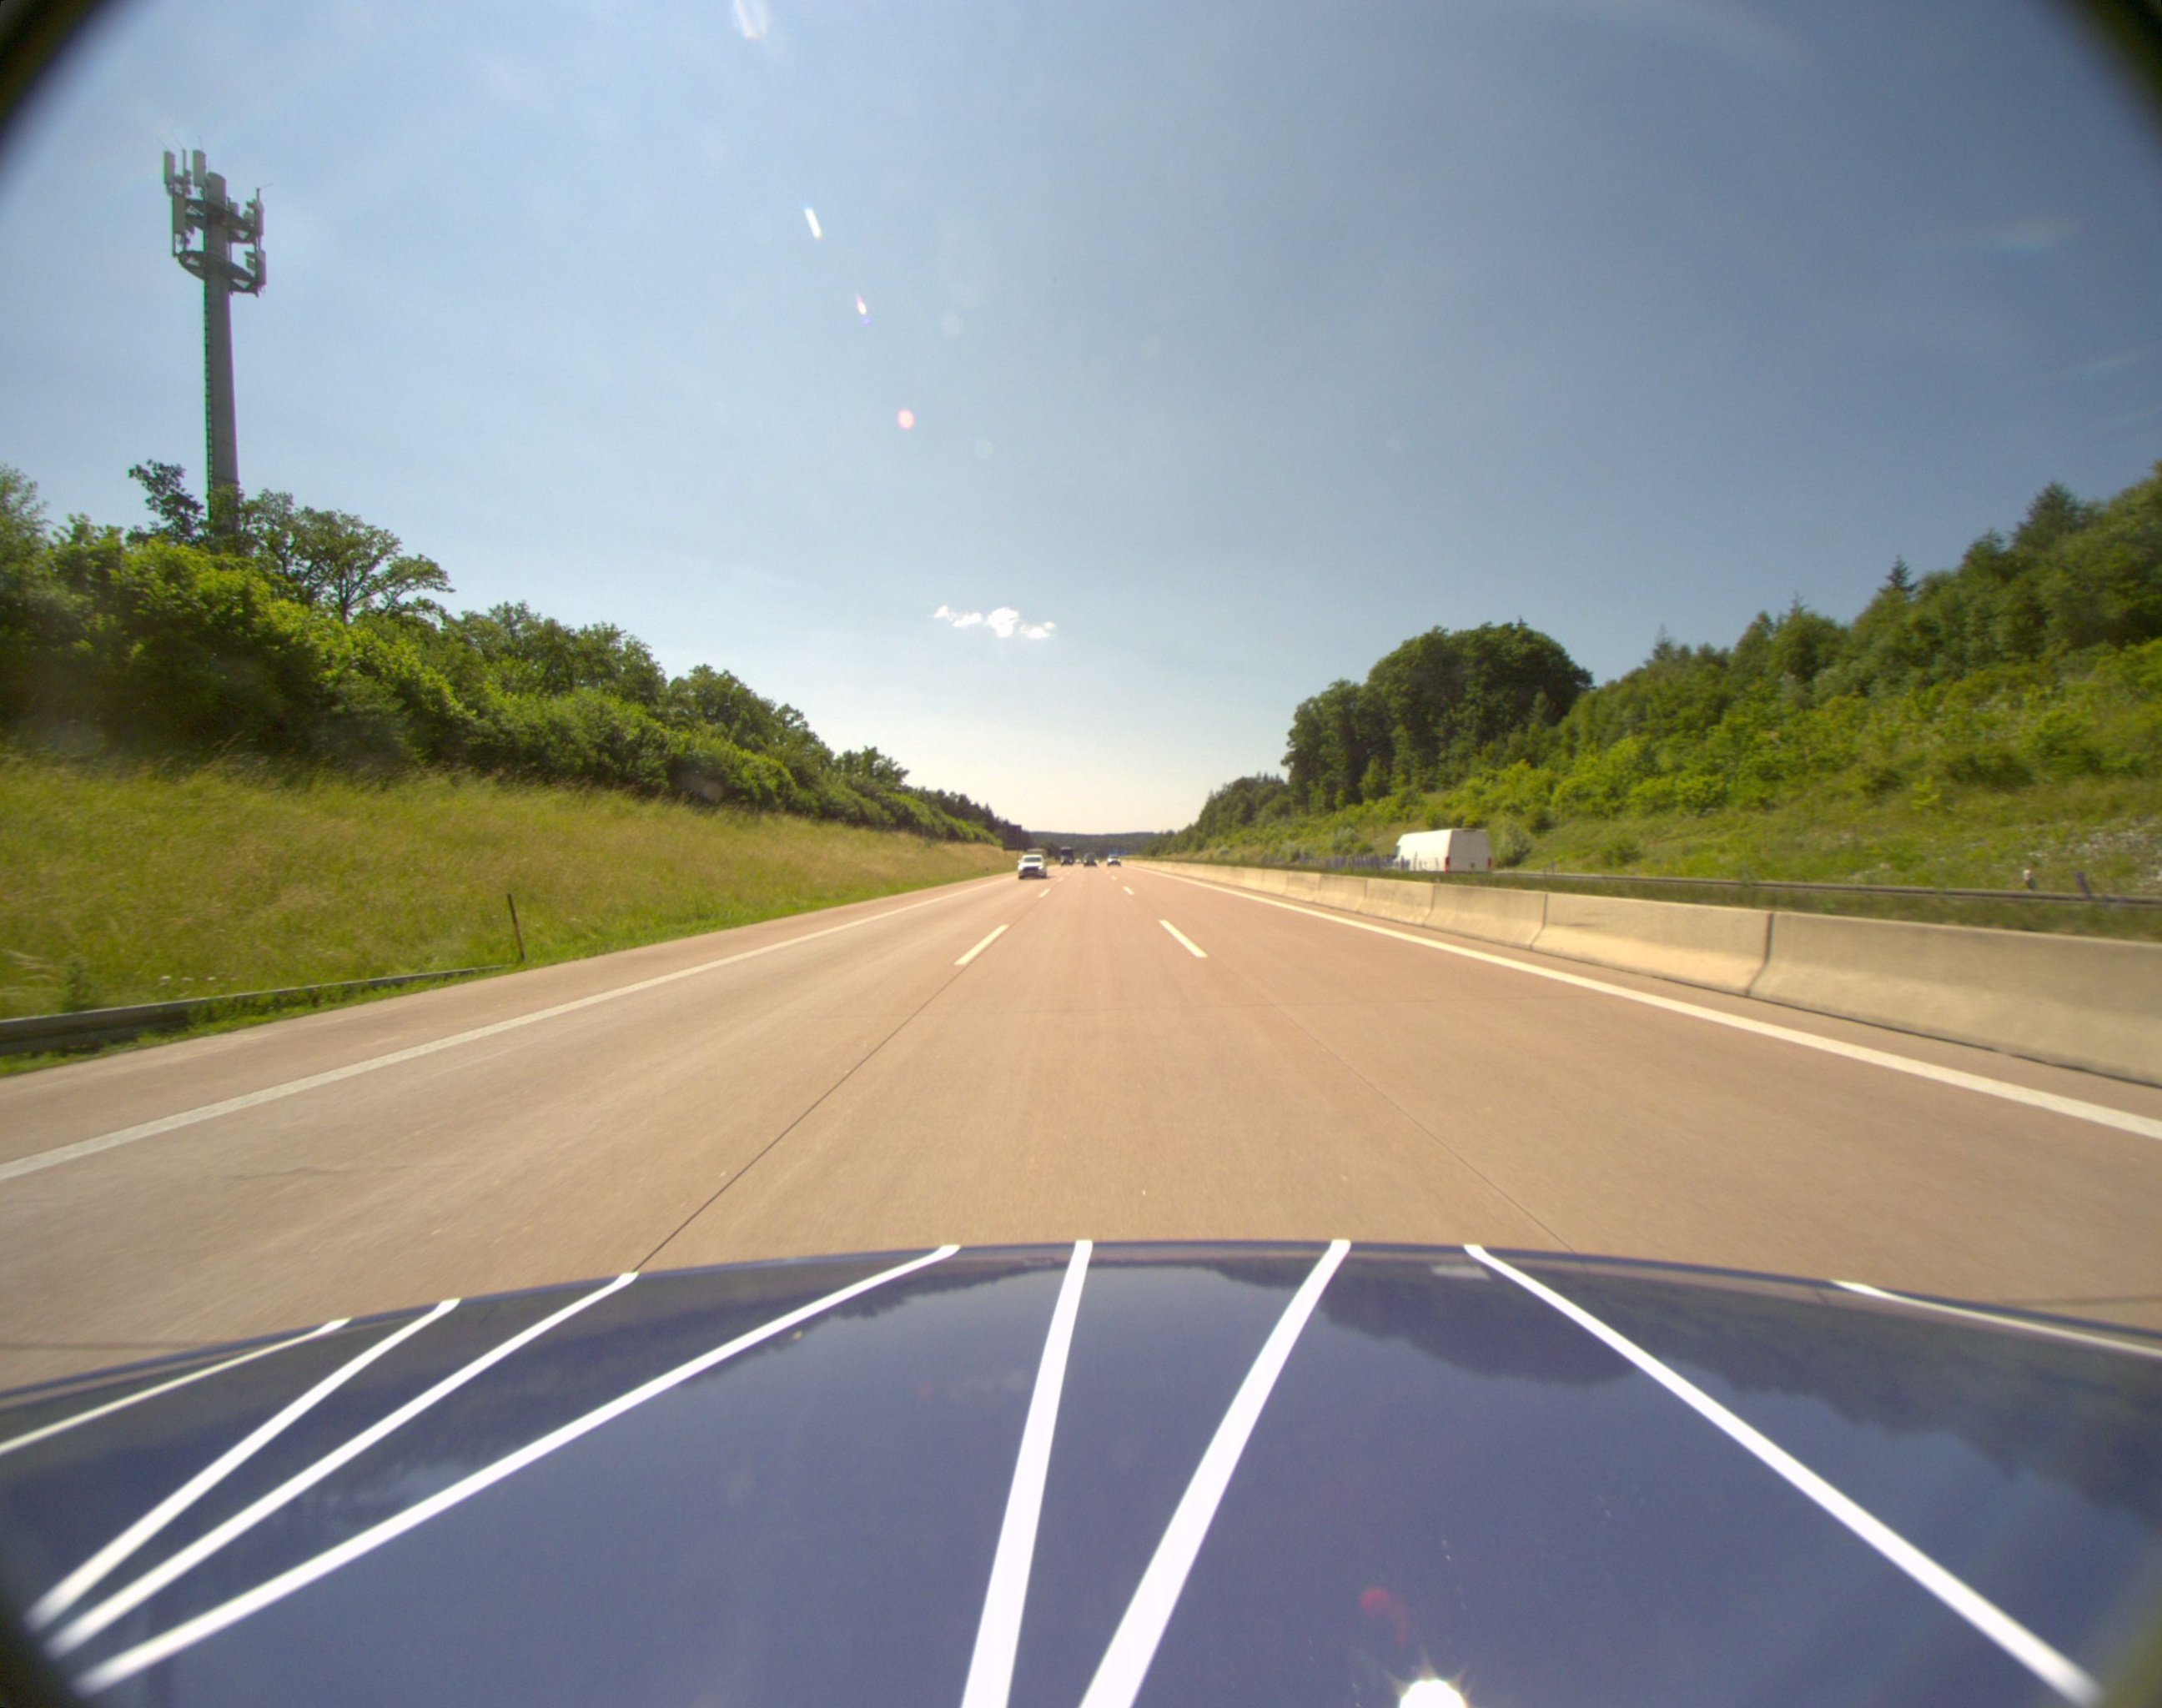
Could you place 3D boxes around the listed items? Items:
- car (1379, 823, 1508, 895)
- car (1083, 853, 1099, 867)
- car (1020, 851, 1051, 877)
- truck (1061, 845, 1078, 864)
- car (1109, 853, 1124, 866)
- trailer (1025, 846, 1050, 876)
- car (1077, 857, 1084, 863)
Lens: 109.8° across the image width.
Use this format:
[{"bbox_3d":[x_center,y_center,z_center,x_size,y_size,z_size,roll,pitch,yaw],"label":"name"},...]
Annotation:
[{"bbox_3d":[16.531,0.268,35.311,2.416,2.952,7.503,-2,-1,1],"label":"car"},{"bbox_3d":[1.455,0.831,109.607,1.998,1.805,4.565,-2,0,3],"label":"car"},{"bbox_3d":[-3.226,0.685,54.402,1.896,1.718,5.185,-2,0,-1],"label":"car"},{"bbox_3d":[-2.035,0.079,133.111,2.508,3.199,7.786,-2,-1,2],"label":"truck"},{"bbox_3d":[4.943,0.788,107.670,1.895,1.718,4.564,-2,-1,0],"label":"car"},{"bbox_3d":[-3.322,0.539,58.921,1.662,2.151,4.016,-2,0,-1],"label":"trailer"},{"bbox_3d":[-0.201,1.904,256.384,1.998,2.001,4.000,-2,0,0],"label":"car"}]
